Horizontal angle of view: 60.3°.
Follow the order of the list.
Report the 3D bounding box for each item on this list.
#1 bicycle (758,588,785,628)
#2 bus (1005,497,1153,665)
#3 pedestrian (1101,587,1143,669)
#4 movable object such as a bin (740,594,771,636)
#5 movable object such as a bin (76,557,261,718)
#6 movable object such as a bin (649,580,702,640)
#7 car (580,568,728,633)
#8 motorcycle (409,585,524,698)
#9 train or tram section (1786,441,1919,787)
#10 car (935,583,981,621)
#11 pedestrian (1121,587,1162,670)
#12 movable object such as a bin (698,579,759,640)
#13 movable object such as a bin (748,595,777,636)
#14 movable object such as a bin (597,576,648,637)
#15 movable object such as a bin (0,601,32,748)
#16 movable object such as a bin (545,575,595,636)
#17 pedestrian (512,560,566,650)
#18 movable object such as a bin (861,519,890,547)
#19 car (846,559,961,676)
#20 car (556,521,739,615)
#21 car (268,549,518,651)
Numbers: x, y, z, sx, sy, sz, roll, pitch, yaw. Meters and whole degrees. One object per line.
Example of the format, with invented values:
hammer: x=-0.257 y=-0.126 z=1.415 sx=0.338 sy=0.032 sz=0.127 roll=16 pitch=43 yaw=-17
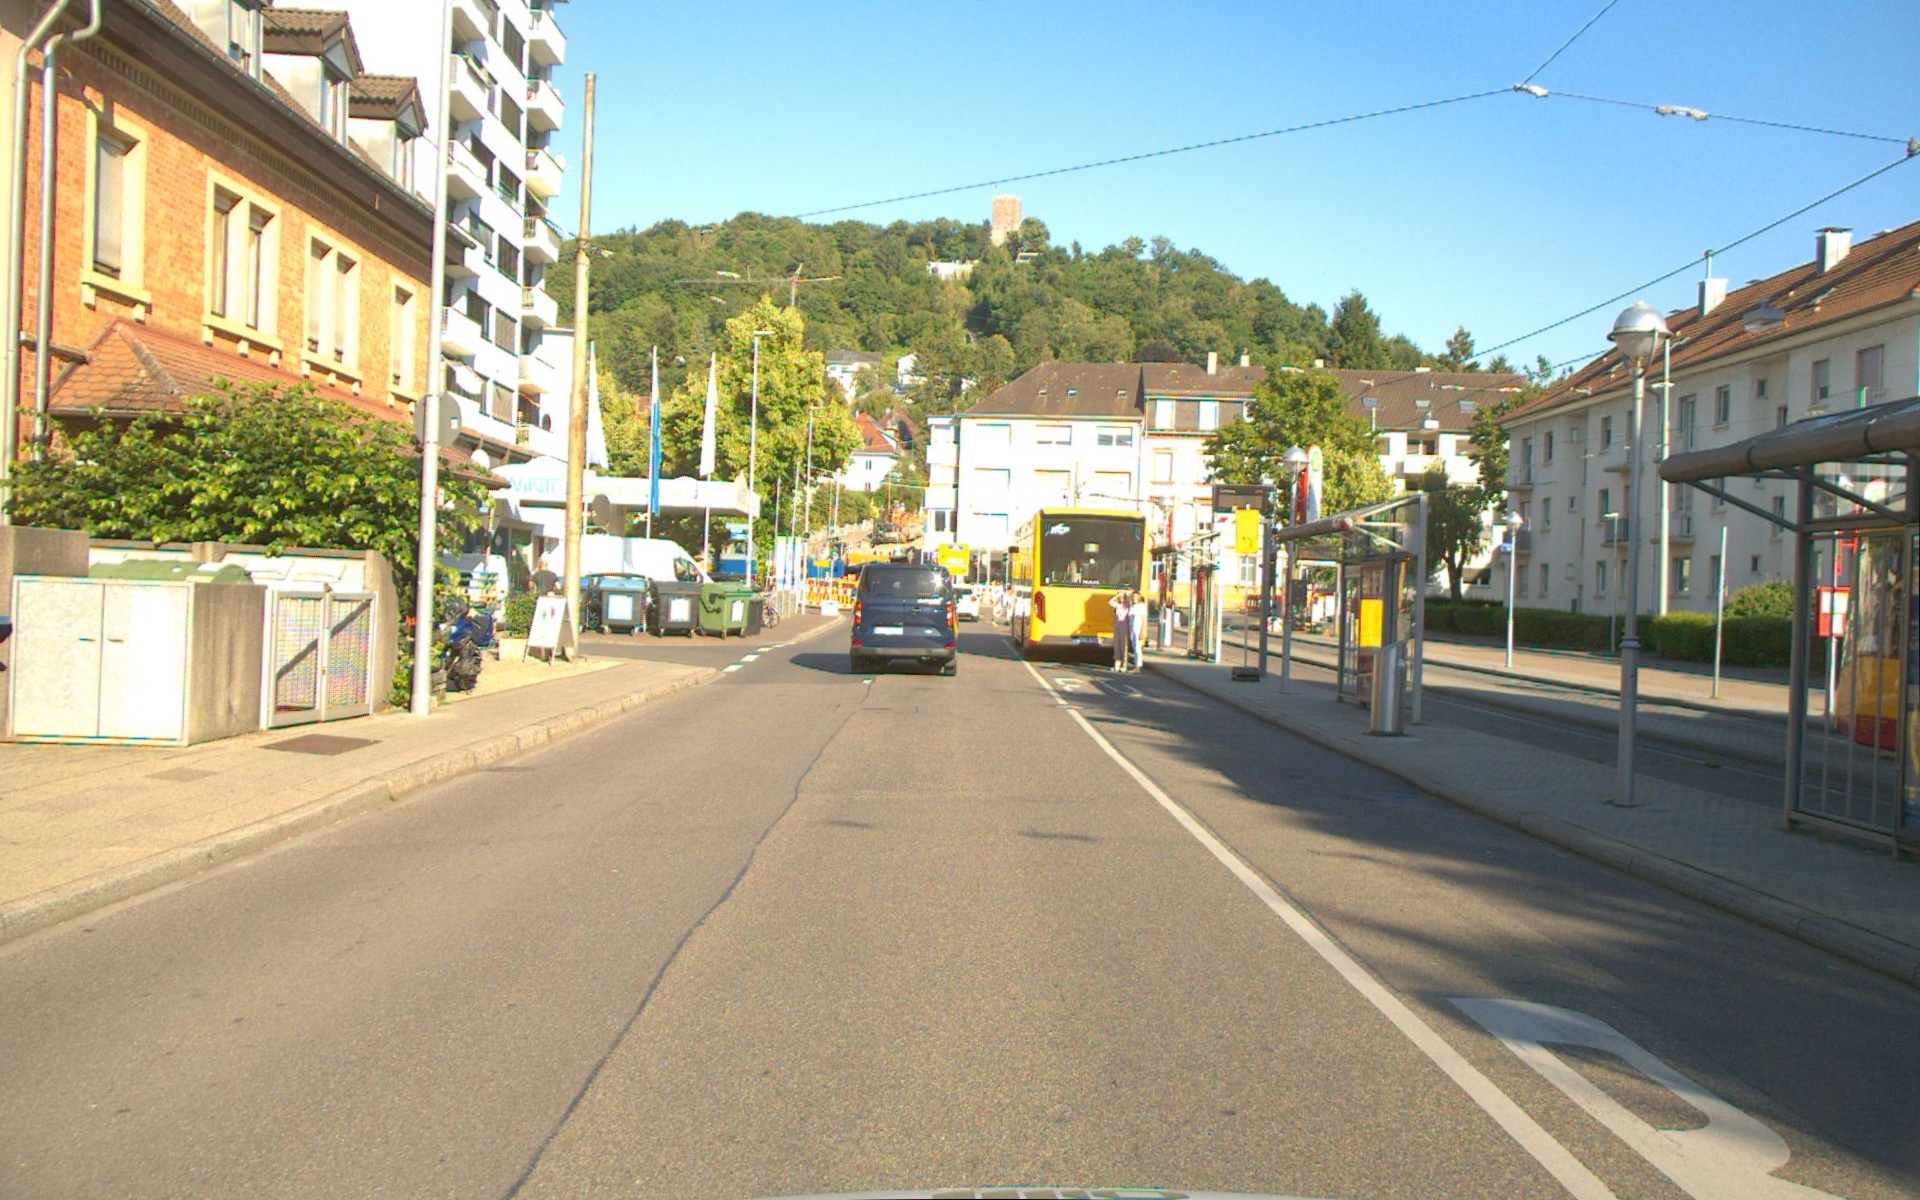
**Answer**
bicycle: x=-5.866 y=0.241 z=51.505 sx=0.710 sy=1.198 sz=1.777 roll=2 pitch=0 yaw=-9
bus: x=2.680 y=-0.490 z=40.867 sx=2.633 sy=3.475 sz=12.018 roll=2 pitch=1 yaw=0
pedestrian: x=3.286 y=0.565 z=33.583 sx=0.540 sy=1.641 sz=0.627 roll=2 pitch=0 yaw=-38
movable object such as a bin: x=-5.653 y=0.417 z=45.790 sx=0.646 sy=1.080 sz=0.585 roll=4 pitch=2 yaw=12
movable object such as a bin: x=-7.520 y=0.347 z=15.782 sx=1.281 sy=1.454 sz=0.991 roll=2 pitch=0 yaw=-4
movable object such as a bin: x=-7.515 y=0.254 z=43.636 sx=1.205 sy=1.508 sz=0.697 roll=0 pitch=4 yaw=-29
car: x=-8.615 y=0.017 z=46.463 sx=3.921 sy=1.595 sz=1.766 roll=3 pitch=1 yaw=-15
motorcycle: x=-6.118 y=0.488 z=20.651 sx=0.822 sy=1.304 sz=2.231 roll=3 pitch=0 yaw=-3
train or tram section: x=11.479 y=0.127 z=11.956 sx=2.897 sy=3.596 sz=15.967 roll=1 pitch=0 yaw=-1
car: x=-0.065 y=0.055 z=66.167 sx=1.757 sy=1.434 sz=4.000 roll=1 pitch=0 yaw=0
pedestrian: x=3.644 y=0.568 z=33.222 sx=0.540 sy=1.641 sz=0.542 roll=2 pitch=0 yaw=-38
movable object such as a bin: x=-6.261 y=0.245 z=44.805 sx=1.035 sy=1.508 sz=1.311 roll=4 pitch=4 yaw=28
movable object such as a bin: x=-5.547 y=0.429 z=46.443 sx=0.626 sy=1.088 sz=0.581 roll=2 pitch=3 yaw=12
movable object such as a bin: x=-8.849 y=0.166 z=43.376 sx=1.194 sy=1.508 sz=0.704 roll=2 pitch=3 yaw=-5
movable object such as a bin: x=-7.495 y=0.549 z=12.368 sx=0.743 sy=1.084 sz=0.601 roll=2 pitch=0 yaw=0
movable object such as a bin: x=-10.201 y=0.142 z=43.265 sx=1.155 sy=1.508 sz=0.704 roll=2 pitch=3 yaw=-5
pedestrian: x=-9.109 y=0.094 z=35.795 sx=0.800 sy=1.900 sz=0.796 roll=2 pitch=1 yaw=16
movable object such as a bin: x=-9.051 y=-7.157 z=176.924 sx=2.144 sy=2.737 sz=4.004 roll=2 pitch=1 yaw=11
car: x=-1.008 y=0.291 z=31.420 sx=2.020 sy=2.049 sz=4.999 roll=0 pitch=0 yaw=-1
car: x=-9.285 y=-0.935 z=49.108 sx=4.985 sy=2.512 sz=2.095 roll=2 pitch=0 yaw=-23
car: x=-11.835 y=-0.008 z=34.765 sx=4.522 sy=1.967 sz=1.999 roll=1 pitch=0 yaw=-3
